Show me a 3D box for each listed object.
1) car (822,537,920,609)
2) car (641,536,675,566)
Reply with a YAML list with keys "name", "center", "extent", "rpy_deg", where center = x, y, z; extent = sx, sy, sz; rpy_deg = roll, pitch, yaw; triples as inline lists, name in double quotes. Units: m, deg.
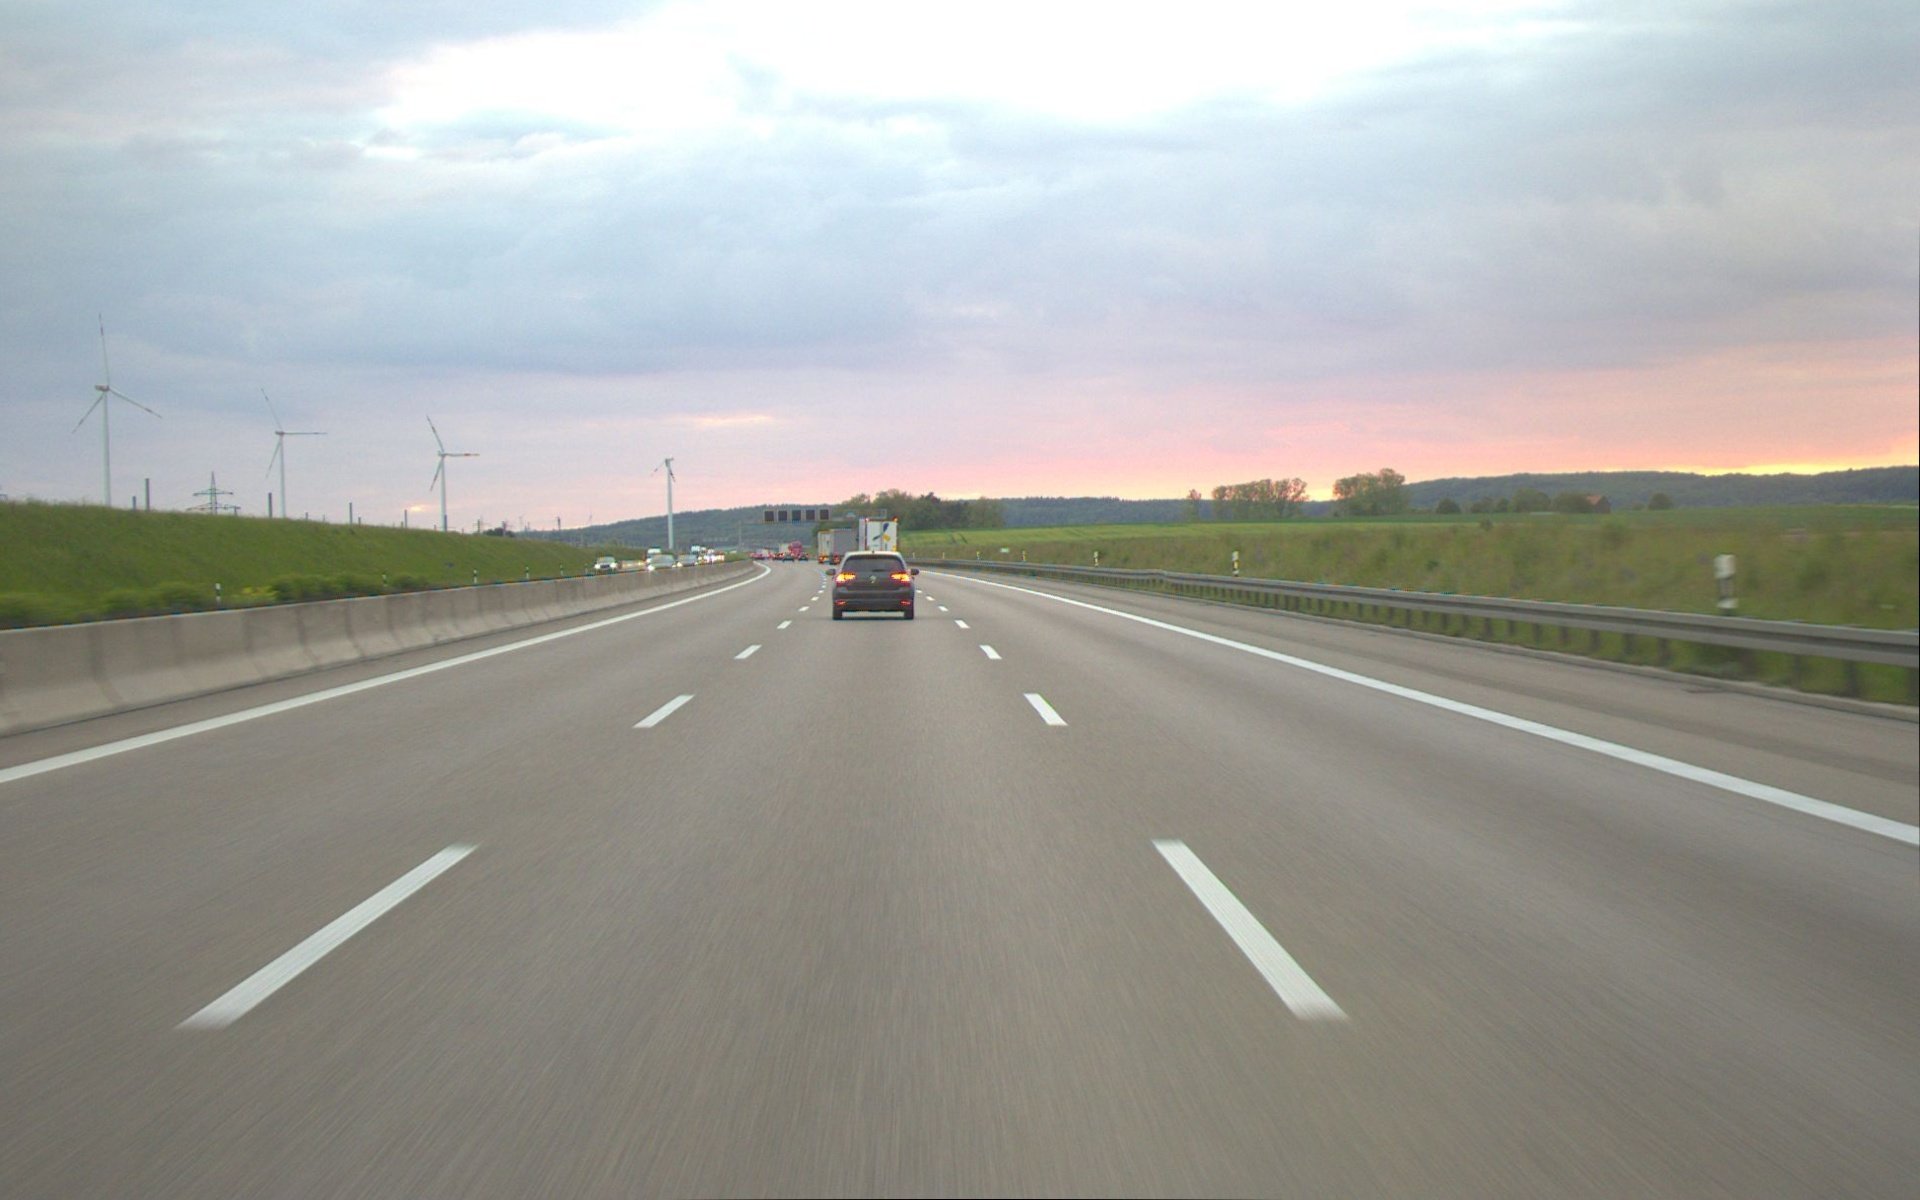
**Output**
- name: "car"
  center: [-1.869, -0.593, 72.937]
  extent: [1.987, 1.425, 4.000]
  rpy_deg: [-1, 1, -1]
- name: "car"
  center: [-18.875, -3.098, 214.984]
  extent: [1.847, 1.809, 3.883]
  rpy_deg: [-1, 1, -2]
